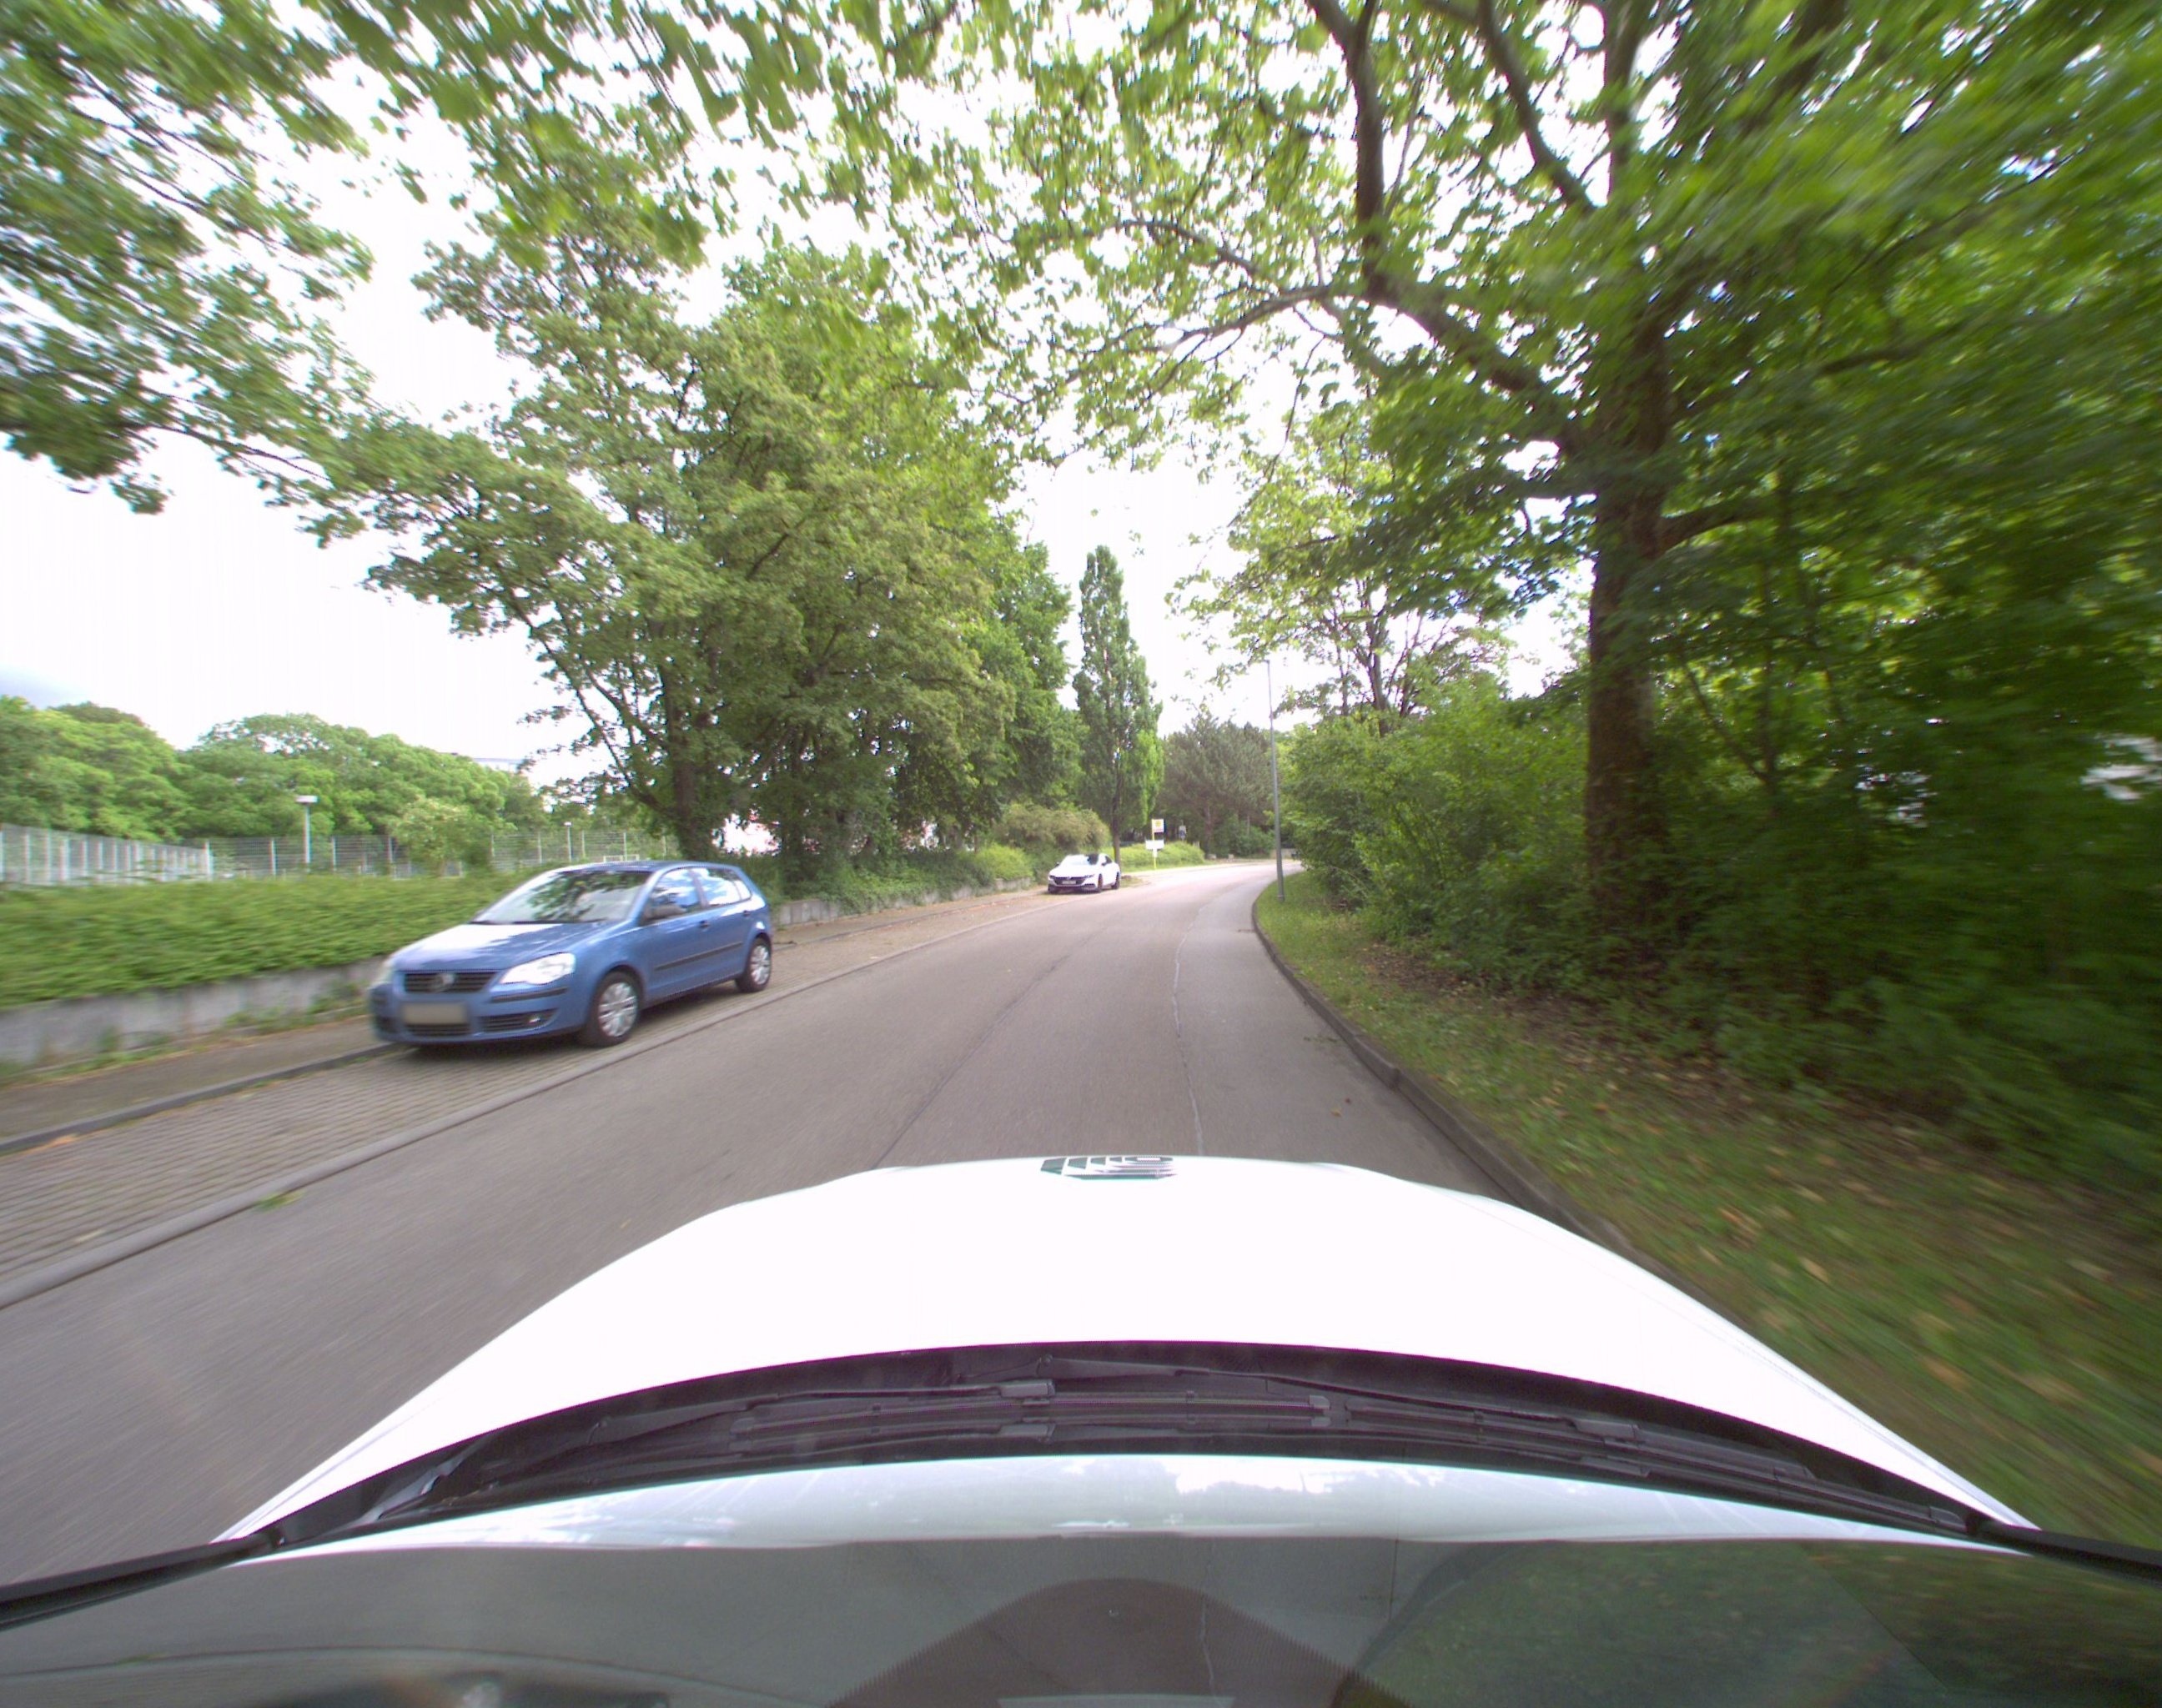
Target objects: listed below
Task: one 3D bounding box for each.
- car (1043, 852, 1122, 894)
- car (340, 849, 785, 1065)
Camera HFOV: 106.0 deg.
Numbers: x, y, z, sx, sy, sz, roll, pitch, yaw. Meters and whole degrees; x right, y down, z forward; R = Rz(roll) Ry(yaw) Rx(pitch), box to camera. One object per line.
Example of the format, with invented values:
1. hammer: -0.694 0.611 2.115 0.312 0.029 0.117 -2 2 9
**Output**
1. car: 0.146 0.652 30.035 1.801 1.424 4.378 -1 0 15
2. car: -4.312 0.718 7.557 1.527 1.459 3.724 -2 0 3
